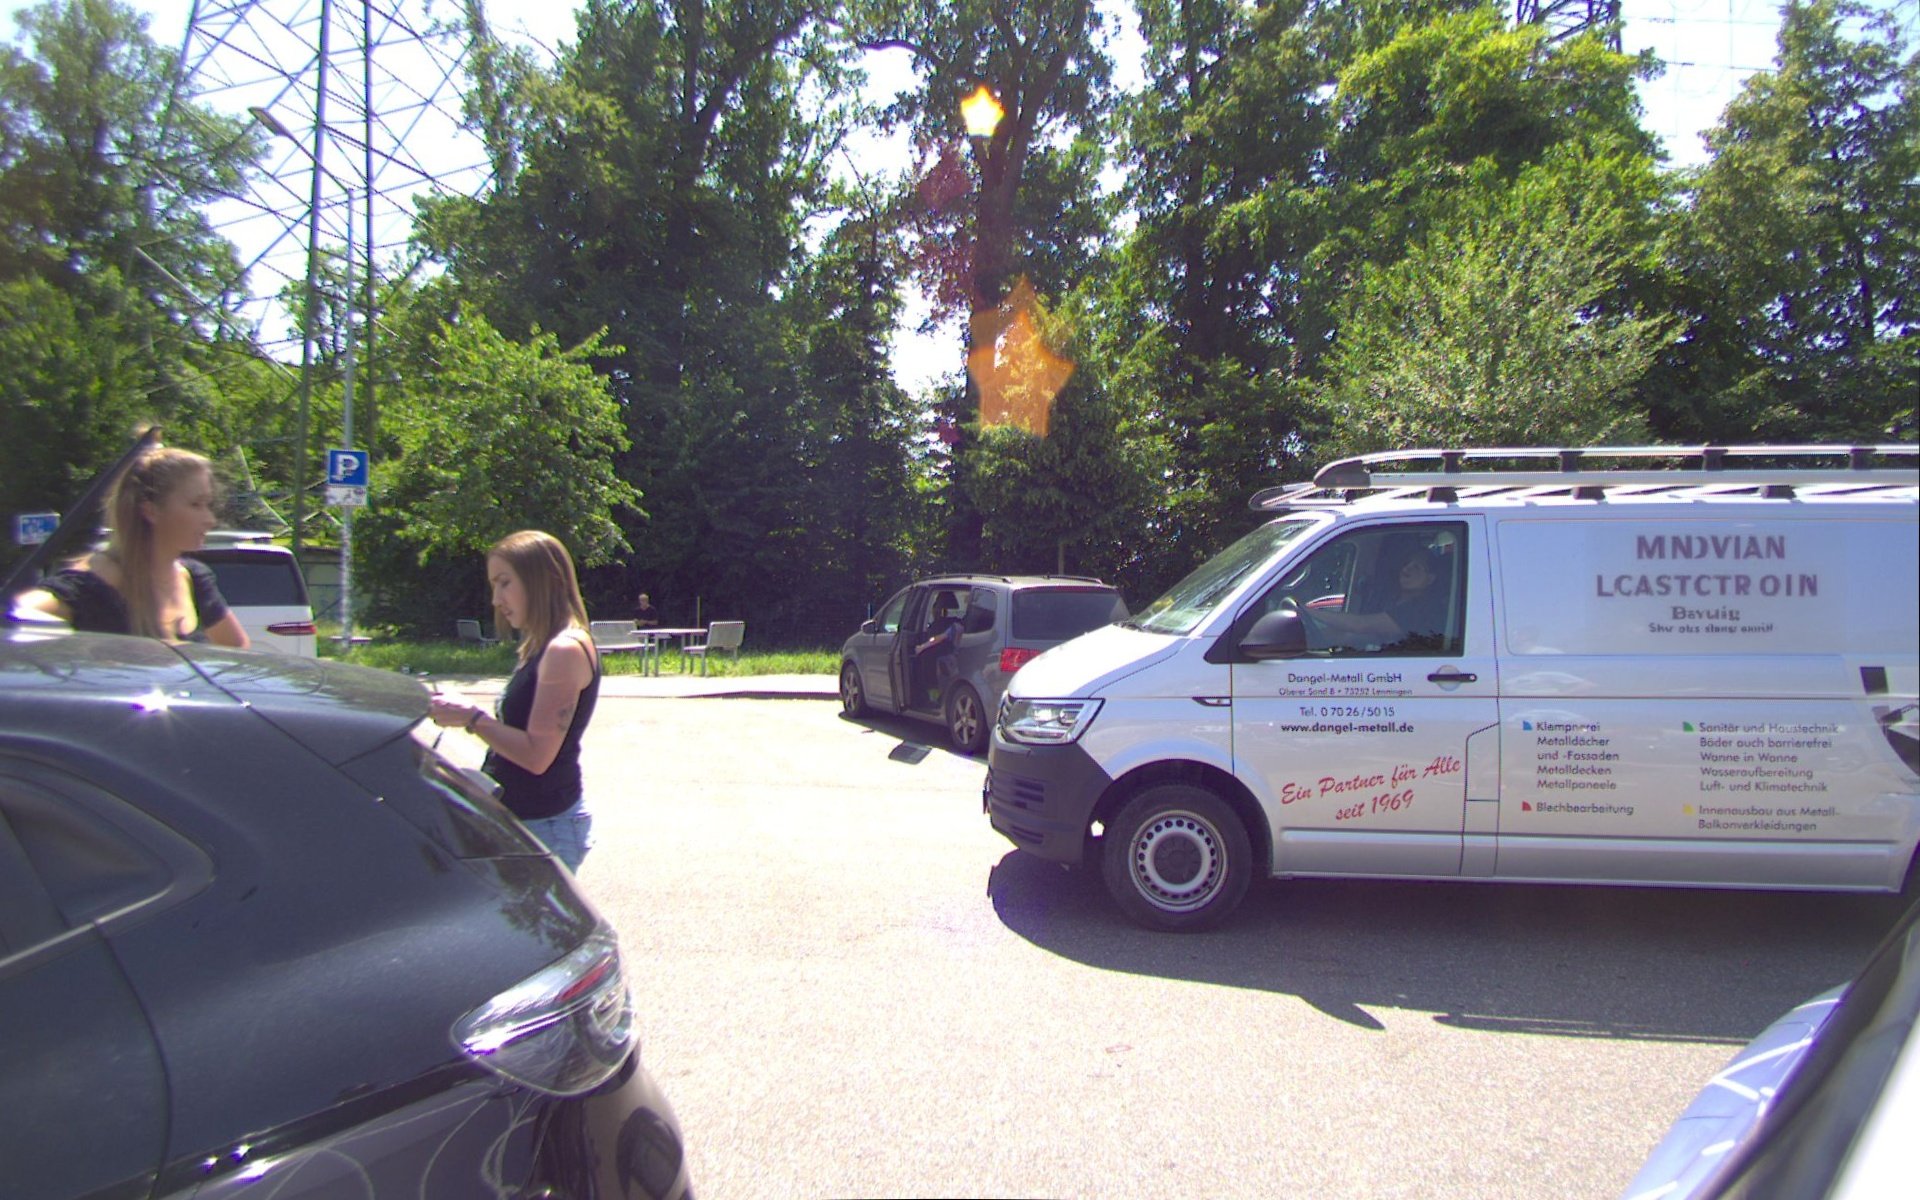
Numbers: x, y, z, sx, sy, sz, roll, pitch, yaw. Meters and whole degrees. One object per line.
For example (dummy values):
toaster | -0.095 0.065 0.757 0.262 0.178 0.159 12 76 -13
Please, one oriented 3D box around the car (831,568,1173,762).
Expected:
car | 0.217 0.502 10.539 1.717 1.611 3.961 0 1 -30

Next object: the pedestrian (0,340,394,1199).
pedestrian | -1.988 0.431 2.449 0.758 1.896 0.918 1 -1 -7

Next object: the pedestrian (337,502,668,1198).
pedestrian | -1.165 0.579 2.715 0.635 1.606 0.655 1 -1 -9

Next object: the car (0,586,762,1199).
car | -2.128 0.720 0.576 1.615 1.503 3.706 0 -1 44

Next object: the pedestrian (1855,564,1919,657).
pedestrian | 13.821 0.153 14.727 0.846 1.316 0.894 1 -1 -18

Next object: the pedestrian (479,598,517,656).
pedestrian | -10.434 0.595 22.869 0.630 1.287 0.579 1 -1 -39

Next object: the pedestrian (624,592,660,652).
pedestrian | -6.685 0.463 21.292 0.550 1.229 0.599 1 -1 -1

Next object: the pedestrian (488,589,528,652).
pedestrian | -10.946 0.487 24.503 0.722 1.478 0.669 1 -1 -39

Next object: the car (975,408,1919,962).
car | 2.758 0.320 5.091 5.219 2.177 1.997 1 -1 6

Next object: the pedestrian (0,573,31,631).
pedestrian | -23.127 0.043 24.510 0.599 1.391 0.705 1 -1 15

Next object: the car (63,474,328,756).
car | -8.066 0.089 10.615 1.885 2.353 4.089 0 1 -40

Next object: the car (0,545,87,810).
car | -7.857 0.460 5.749 3.964 1.644 1.854 1 0 -15

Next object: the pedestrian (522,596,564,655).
pedestrian | -9.714 0.580 23.566 0.722 1.343 0.669 1 -1 -39
